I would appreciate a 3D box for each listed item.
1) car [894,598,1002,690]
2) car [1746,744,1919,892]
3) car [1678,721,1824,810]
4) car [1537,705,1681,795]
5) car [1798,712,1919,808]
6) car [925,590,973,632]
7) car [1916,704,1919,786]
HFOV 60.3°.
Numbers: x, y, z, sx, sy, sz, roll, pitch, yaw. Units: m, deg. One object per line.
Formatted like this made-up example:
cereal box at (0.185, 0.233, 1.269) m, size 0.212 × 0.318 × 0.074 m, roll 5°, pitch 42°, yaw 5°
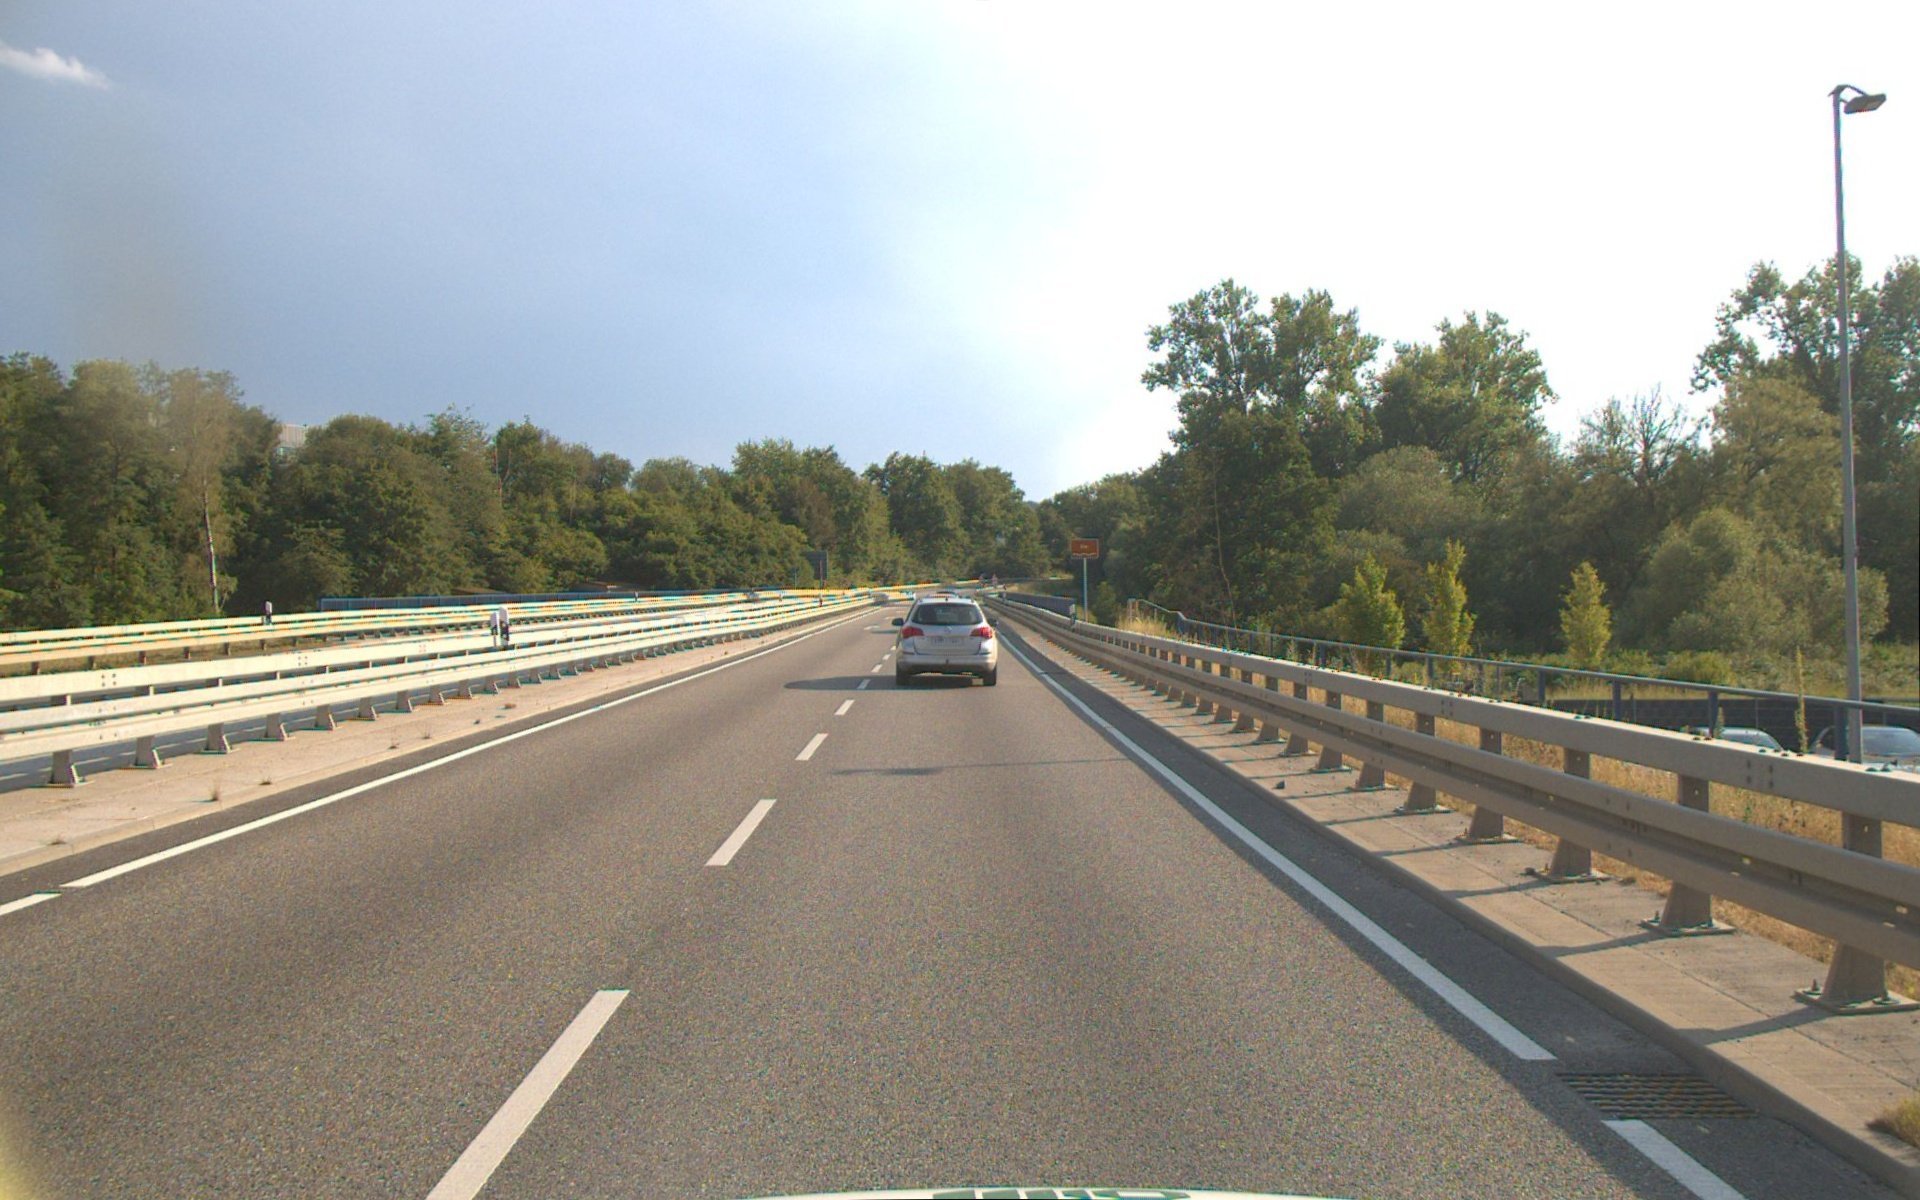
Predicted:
car at (-0.233, 0.743, 29.513) m, size 1.772 × 1.512 × 3.999 m, roll 1°, pitch 0°, yaw -1°
car at (12.524, 2.891, 22.550) m, size 1.671 × 1.489 × 3.999 m, roll 1°, pitch 0°, yaw -1°
car at (15.871, 3.285, 33.383) m, size 1.779 × 1.378 × 4.003 m, roll 1°, pitch 0°, yaw 12°
car at (13.449, 3.080, 34.506) m, size 1.670 × 1.489 × 4.002 m, roll 1°, pitch 0°, yaw 4°
car at (18.223, 3.137, 32.927) m, size 1.779 × 1.525 × 4.003 m, roll 1°, pitch 0°, yaw 12°
car at (-0.435, 0.403, 62.729) m, size 1.772 × 1.512 × 3.999 m, roll 1°, pitch 0°, yaw -1°
car at (20.379, 3.005, 32.077) m, size 1.911 × 1.670 × 4.247 m, roll 1°, pitch 0°, yaw 11°
